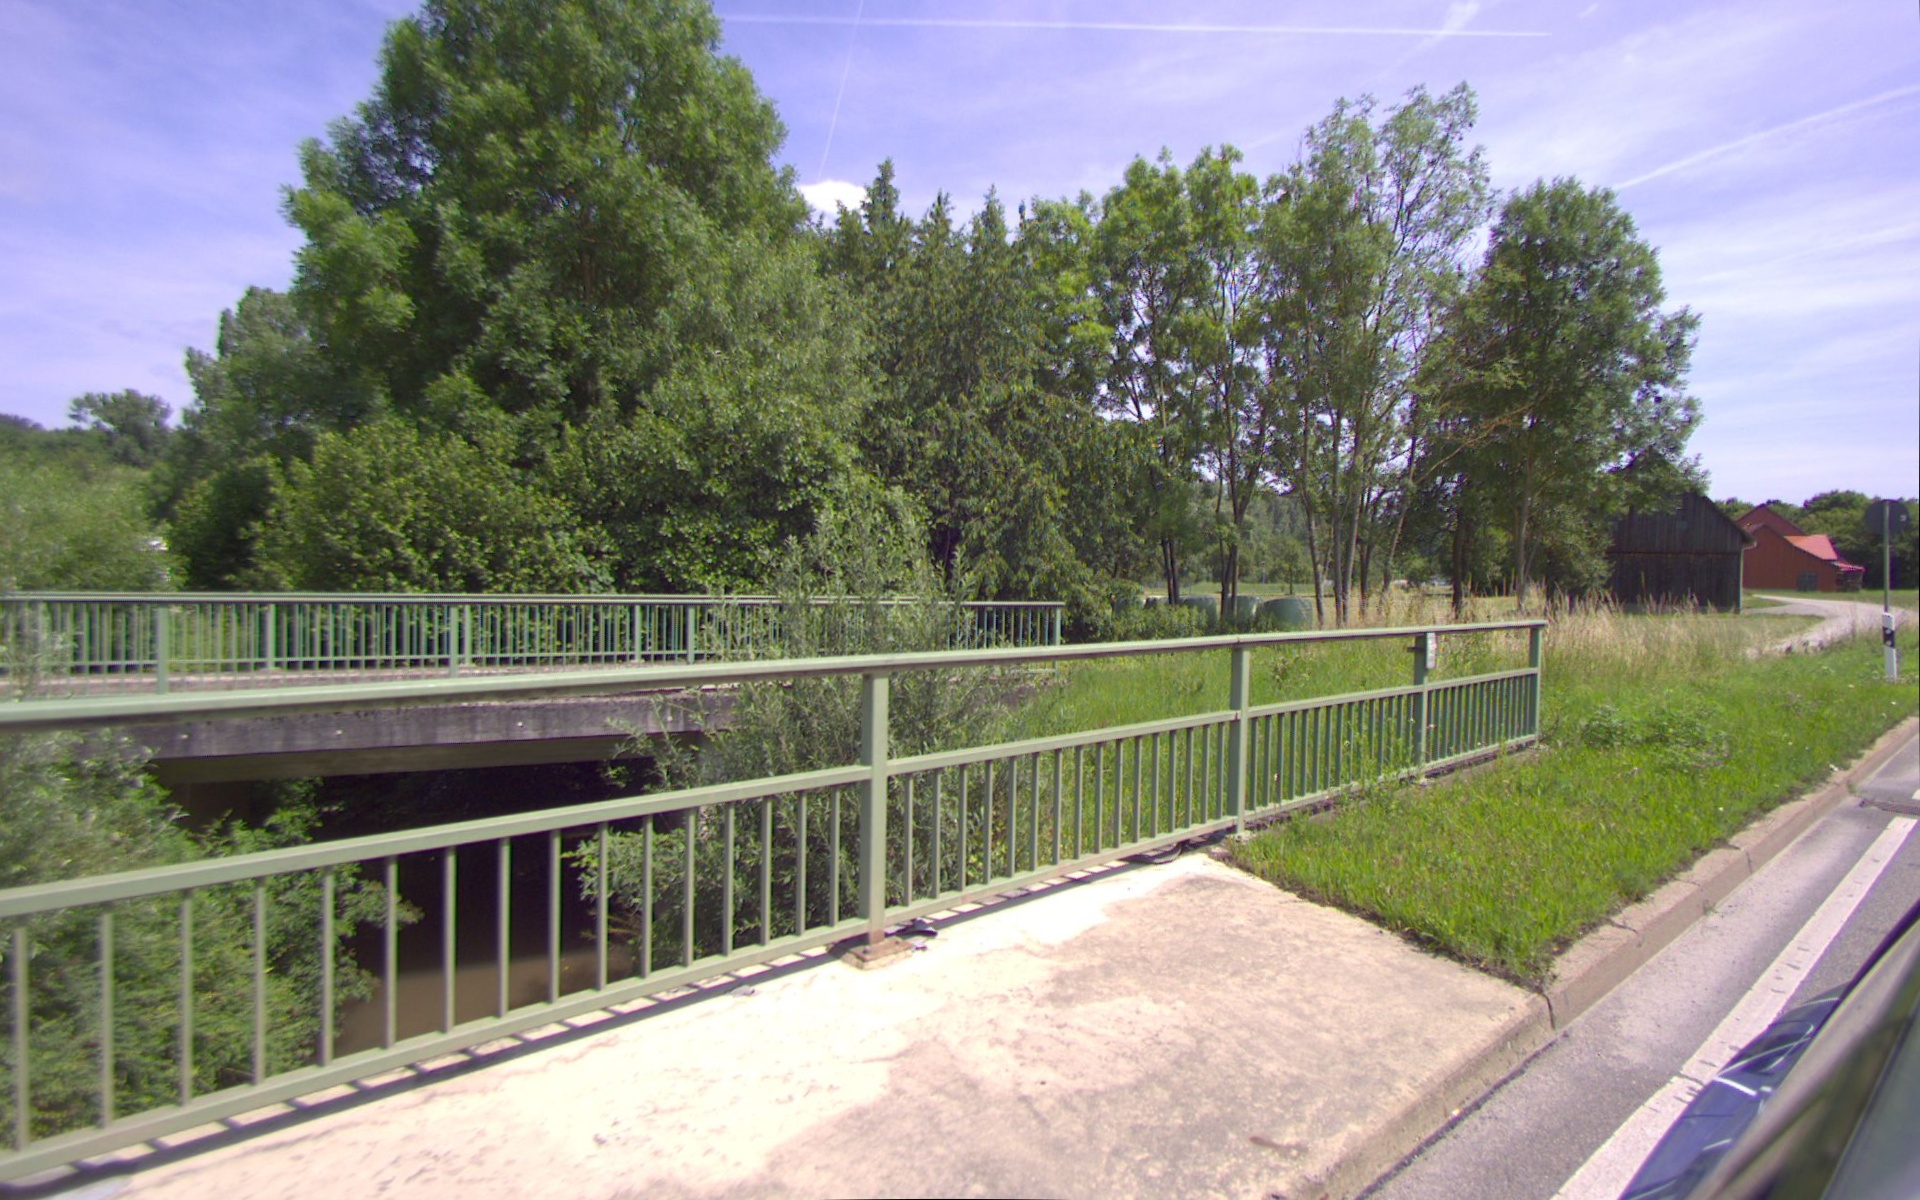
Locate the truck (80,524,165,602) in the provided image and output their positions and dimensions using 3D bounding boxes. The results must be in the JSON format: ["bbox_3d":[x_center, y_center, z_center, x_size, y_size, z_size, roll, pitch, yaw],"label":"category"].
[{"bbox_3d":[-44.627,-1.974,53.766,11.546,3.741,2.344,3,2,45],"label":"truck"}]
